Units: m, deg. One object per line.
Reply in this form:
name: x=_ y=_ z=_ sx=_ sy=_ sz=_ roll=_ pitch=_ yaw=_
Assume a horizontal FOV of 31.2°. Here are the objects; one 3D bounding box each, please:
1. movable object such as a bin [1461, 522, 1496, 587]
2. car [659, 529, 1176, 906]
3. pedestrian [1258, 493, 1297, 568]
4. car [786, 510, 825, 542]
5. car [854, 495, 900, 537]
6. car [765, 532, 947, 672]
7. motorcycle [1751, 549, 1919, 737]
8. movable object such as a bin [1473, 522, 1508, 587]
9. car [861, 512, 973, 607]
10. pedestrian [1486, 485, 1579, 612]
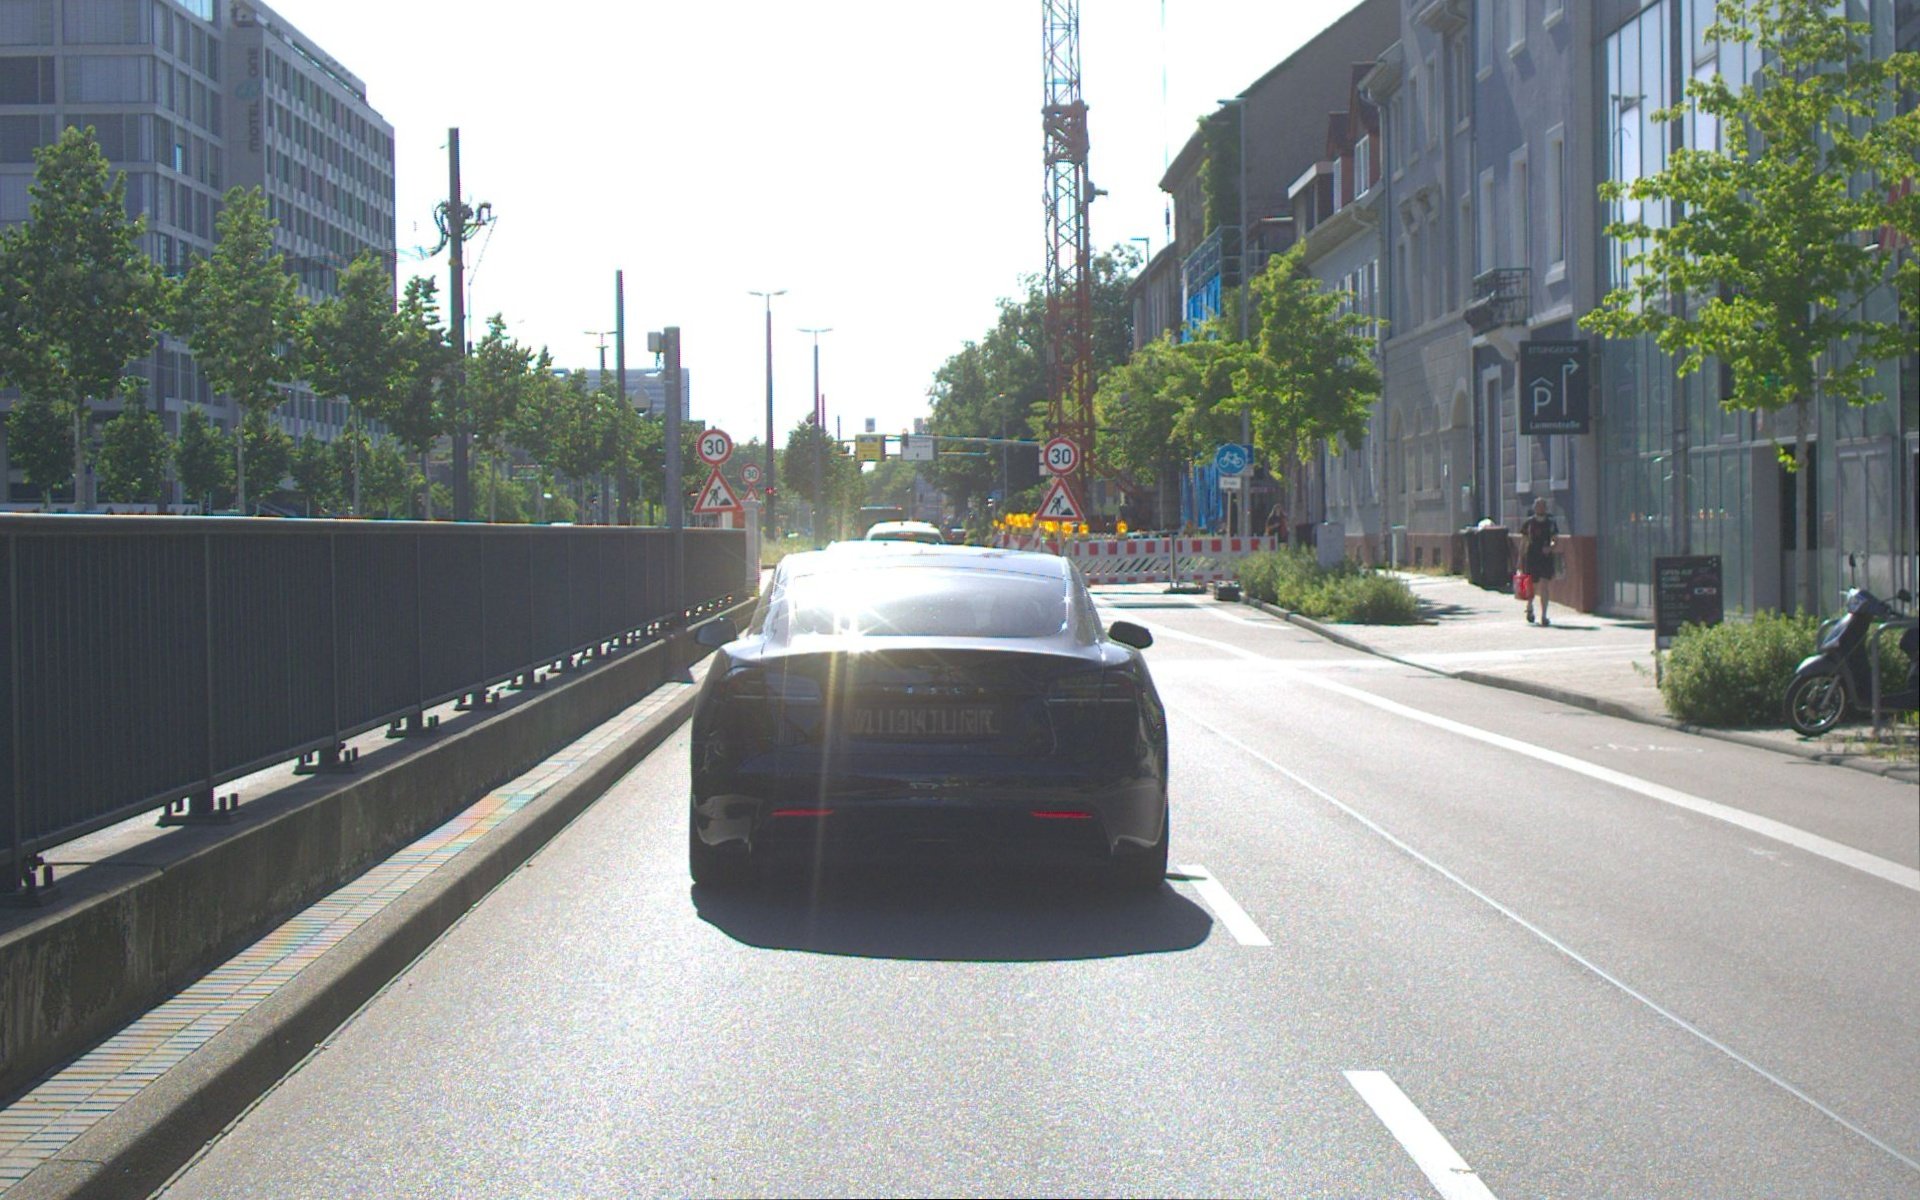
movable object such as a bin: x=9.493 y=-0.834 z=62.970 sx=0.559 sy=1.165 sz=0.562 roll=1 pitch=1 yaw=3
car: x=-0.110 y=0.411 z=15.555 sx=1.999 sy=1.429 sz=4.412 roll=0 pitch=1 yaw=2
pedestrian: x=7.944 y=-1.744 z=86.016 sx=0.851 sy=1.857 sz=0.930 roll=-1 pitch=1 yaw=-2
car: x=-8.339 y=-4.009 z=186.136 sx=1.993 sy=1.678 sz=4.000 roll=1 pitch=1 yaw=-2
car: x=-3.602 y=-3.681 z=149.804 sx=1.814 sy=1.803 sz=4.039 roll=0 pitch=2 yaw=1
car: x=-1.017 y=-0.018 z=35.411 sx=1.716 sy=1.315 sz=4.000 roll=0 pitch=2 yaw=0
motorcycle: x=7.060 y=0.300 z=25.743 sx=2.075 sy=1.349 sz=0.652 roll=-3 pitch=1 yaw=23
movable object such as a bin: x=9.582 y=-0.818 z=62.121 sx=0.559 sy=1.165 sz=0.562 roll=1 pitch=1 yaw=3
car: x=-0.696 y=-0.714 z=58.190 sx=1.784 sy=1.540 sz=4.039 roll=0 pitch=2 yaw=1
pedestrian: x=8.599 y=-0.778 z=51.686 sx=1.095 sy=1.857 sz=1.523 roll=-1 pitch=1 yaw=-2
